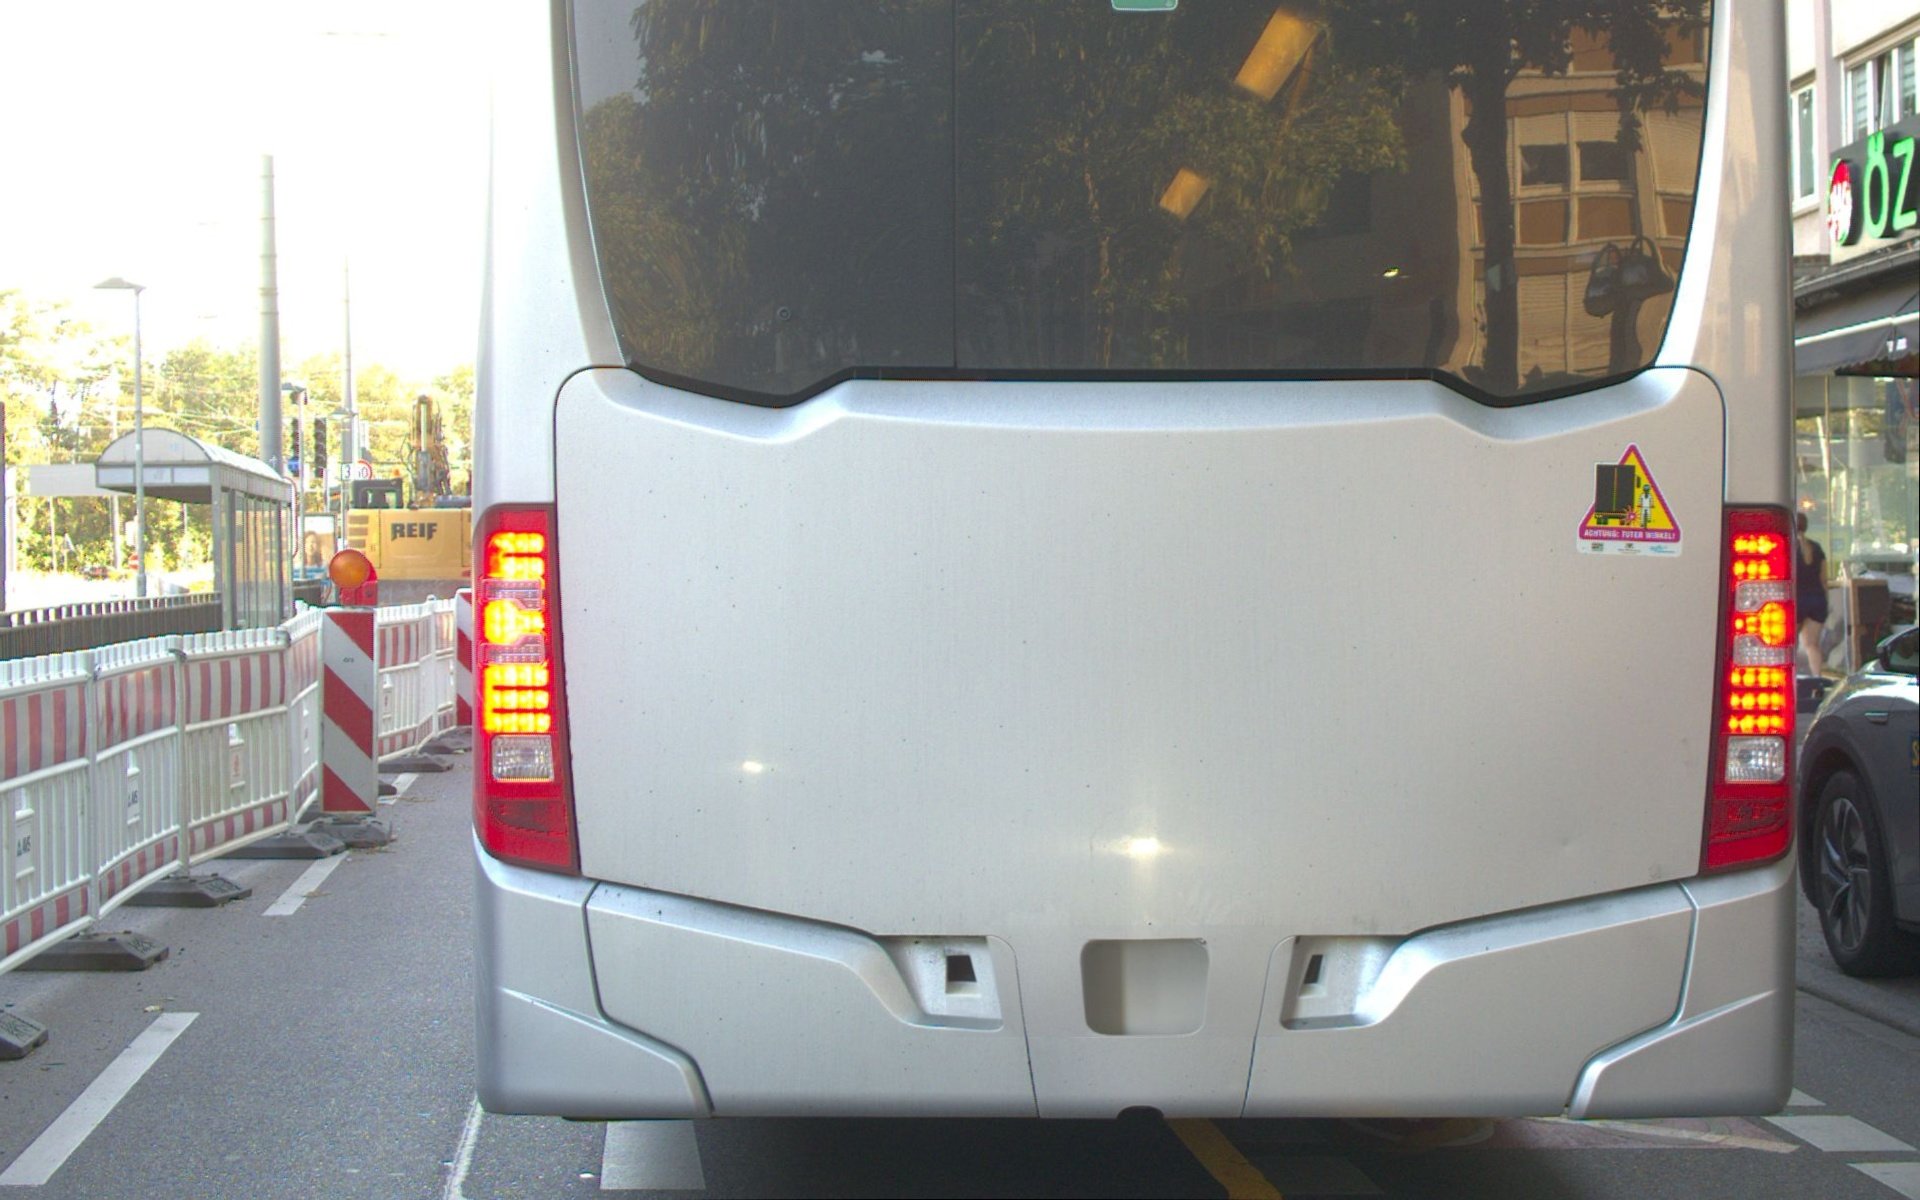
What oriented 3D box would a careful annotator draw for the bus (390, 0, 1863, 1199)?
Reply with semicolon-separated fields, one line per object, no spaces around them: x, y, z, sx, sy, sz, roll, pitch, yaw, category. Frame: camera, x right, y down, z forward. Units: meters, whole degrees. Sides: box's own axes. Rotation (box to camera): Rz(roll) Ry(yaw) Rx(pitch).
0.270;-0.286;11.244;2.608;3.159;10.292;0;1;0;bus

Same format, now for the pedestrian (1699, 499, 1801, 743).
6.595;0.169;28.726;0.691;2.007;0.696;-1;0;2;pedestrian

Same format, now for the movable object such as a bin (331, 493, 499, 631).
-10.044;-0.714;63.667;2.806;2.453;4.001;-1;1;-5;movable object such as a bin

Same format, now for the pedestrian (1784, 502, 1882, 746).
7.309;0.196;28.806;0.612;2.007;0.696;-1;0;-1;pedestrian

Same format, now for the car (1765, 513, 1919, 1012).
3.985;0.494;10.259;1.739;1.592;4.300;-3;1;-5;car
